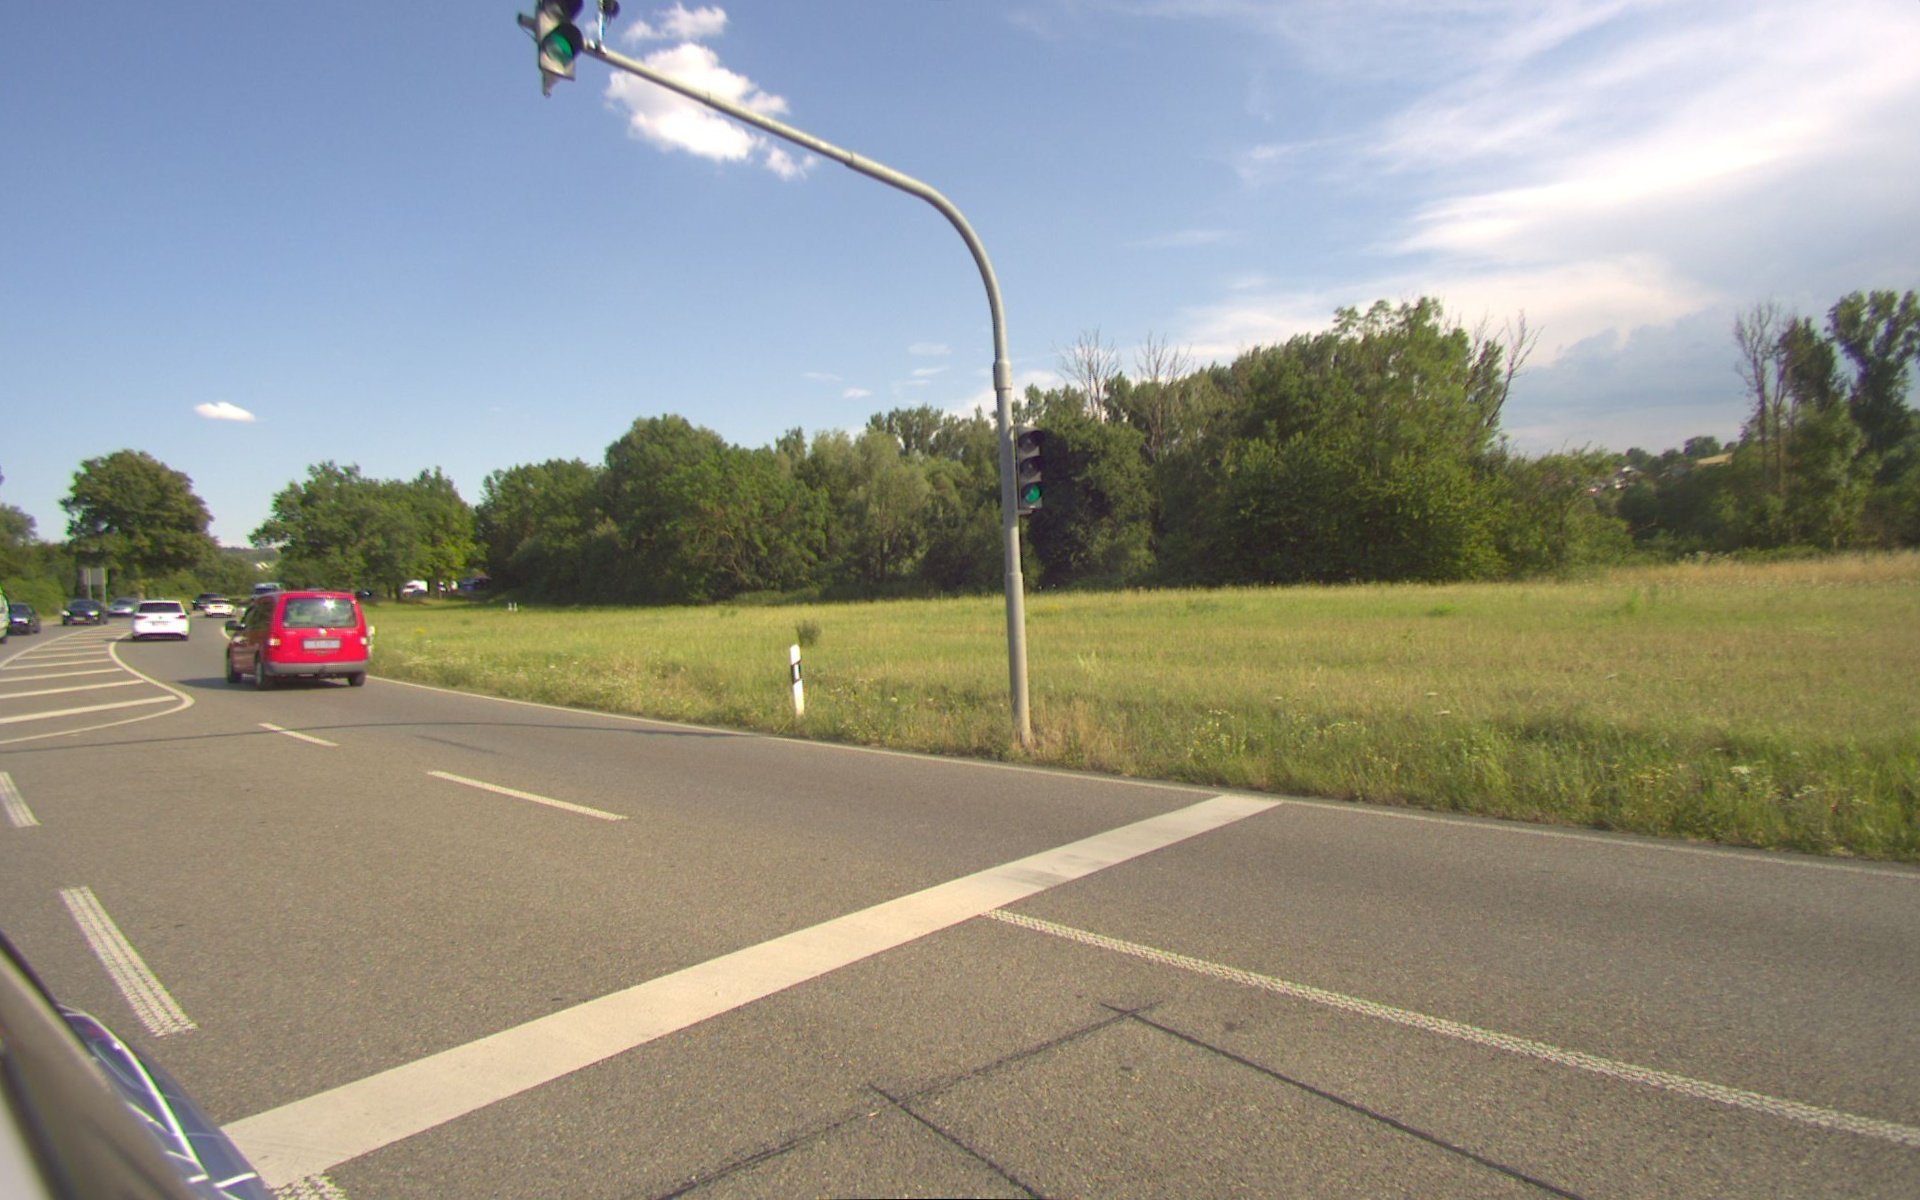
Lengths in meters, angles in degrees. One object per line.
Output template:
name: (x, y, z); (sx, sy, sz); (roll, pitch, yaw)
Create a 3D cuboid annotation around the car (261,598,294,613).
car: (-71.083, 0.576, 105.413); (1.900, 1.598, 4.087); (1, -1, -20)

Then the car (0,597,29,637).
car: (-42.726, 0.748, 45.052); (1.668, 1.741, 3.675); (1, -1, -40)

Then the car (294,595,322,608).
car: (-86.120, 0.212, 133.738); (1.966, 1.563, 4.012); (-3, 2, -17)

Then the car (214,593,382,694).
car: (-13.201, 0.818, 20.069); (4.322, 1.789, 1.859); (-2, -2, 44)

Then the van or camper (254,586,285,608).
van or camper: (-81.272, -0.346, 119.184); (2.000, 2.494, 5.094); (-3, 1, -24)

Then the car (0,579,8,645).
car: (-34.840, 0.415, 35.400); (1.816, 2.369, 4.799); (1, -1, -38)

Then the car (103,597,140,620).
car: (-62.000, 0.623, 74.884); (1.608, 1.570, 3.427); (2, 0, -32)

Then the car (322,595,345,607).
car: (-90.060, 0.063, 145.545); (1.966, 1.563, 4.013); (-3, 2, -19)

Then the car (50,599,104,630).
car: (-51.514, 0.800, 59.099); (1.646, 1.741, 3.680); (0, 0, -30)

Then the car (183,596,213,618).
car: (-73.229, 0.655, 97.307); (1.613, 1.913, 3.517); (-3, 2, -26)

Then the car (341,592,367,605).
car: (-83.015, -0.187, 138.781); (1.966, 1.563, 4.012); (-3, 2, -15)

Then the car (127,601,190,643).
car: (-31.855, 0.872, 40.335); (1.856, 1.598, 4.339); (1, -2, -37)

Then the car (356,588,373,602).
car: (-92.994, -0.800, 158.167); (1.385, 2.028, 3.244); (-2, 1, -15)

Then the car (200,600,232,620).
car: (-56.636, 0.755, 77.057); (1.722, 1.478, 3.489); (1, -1, -32)

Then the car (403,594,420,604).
car: (-88.300, -0.153, 162.963); (1.443, 1.513, 3.651); (-3, 1, -14)

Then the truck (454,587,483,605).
truck: (-92.229, -0.767, 190.075); (2.879, 3.237, 6.695); (-2, 1, -9)
